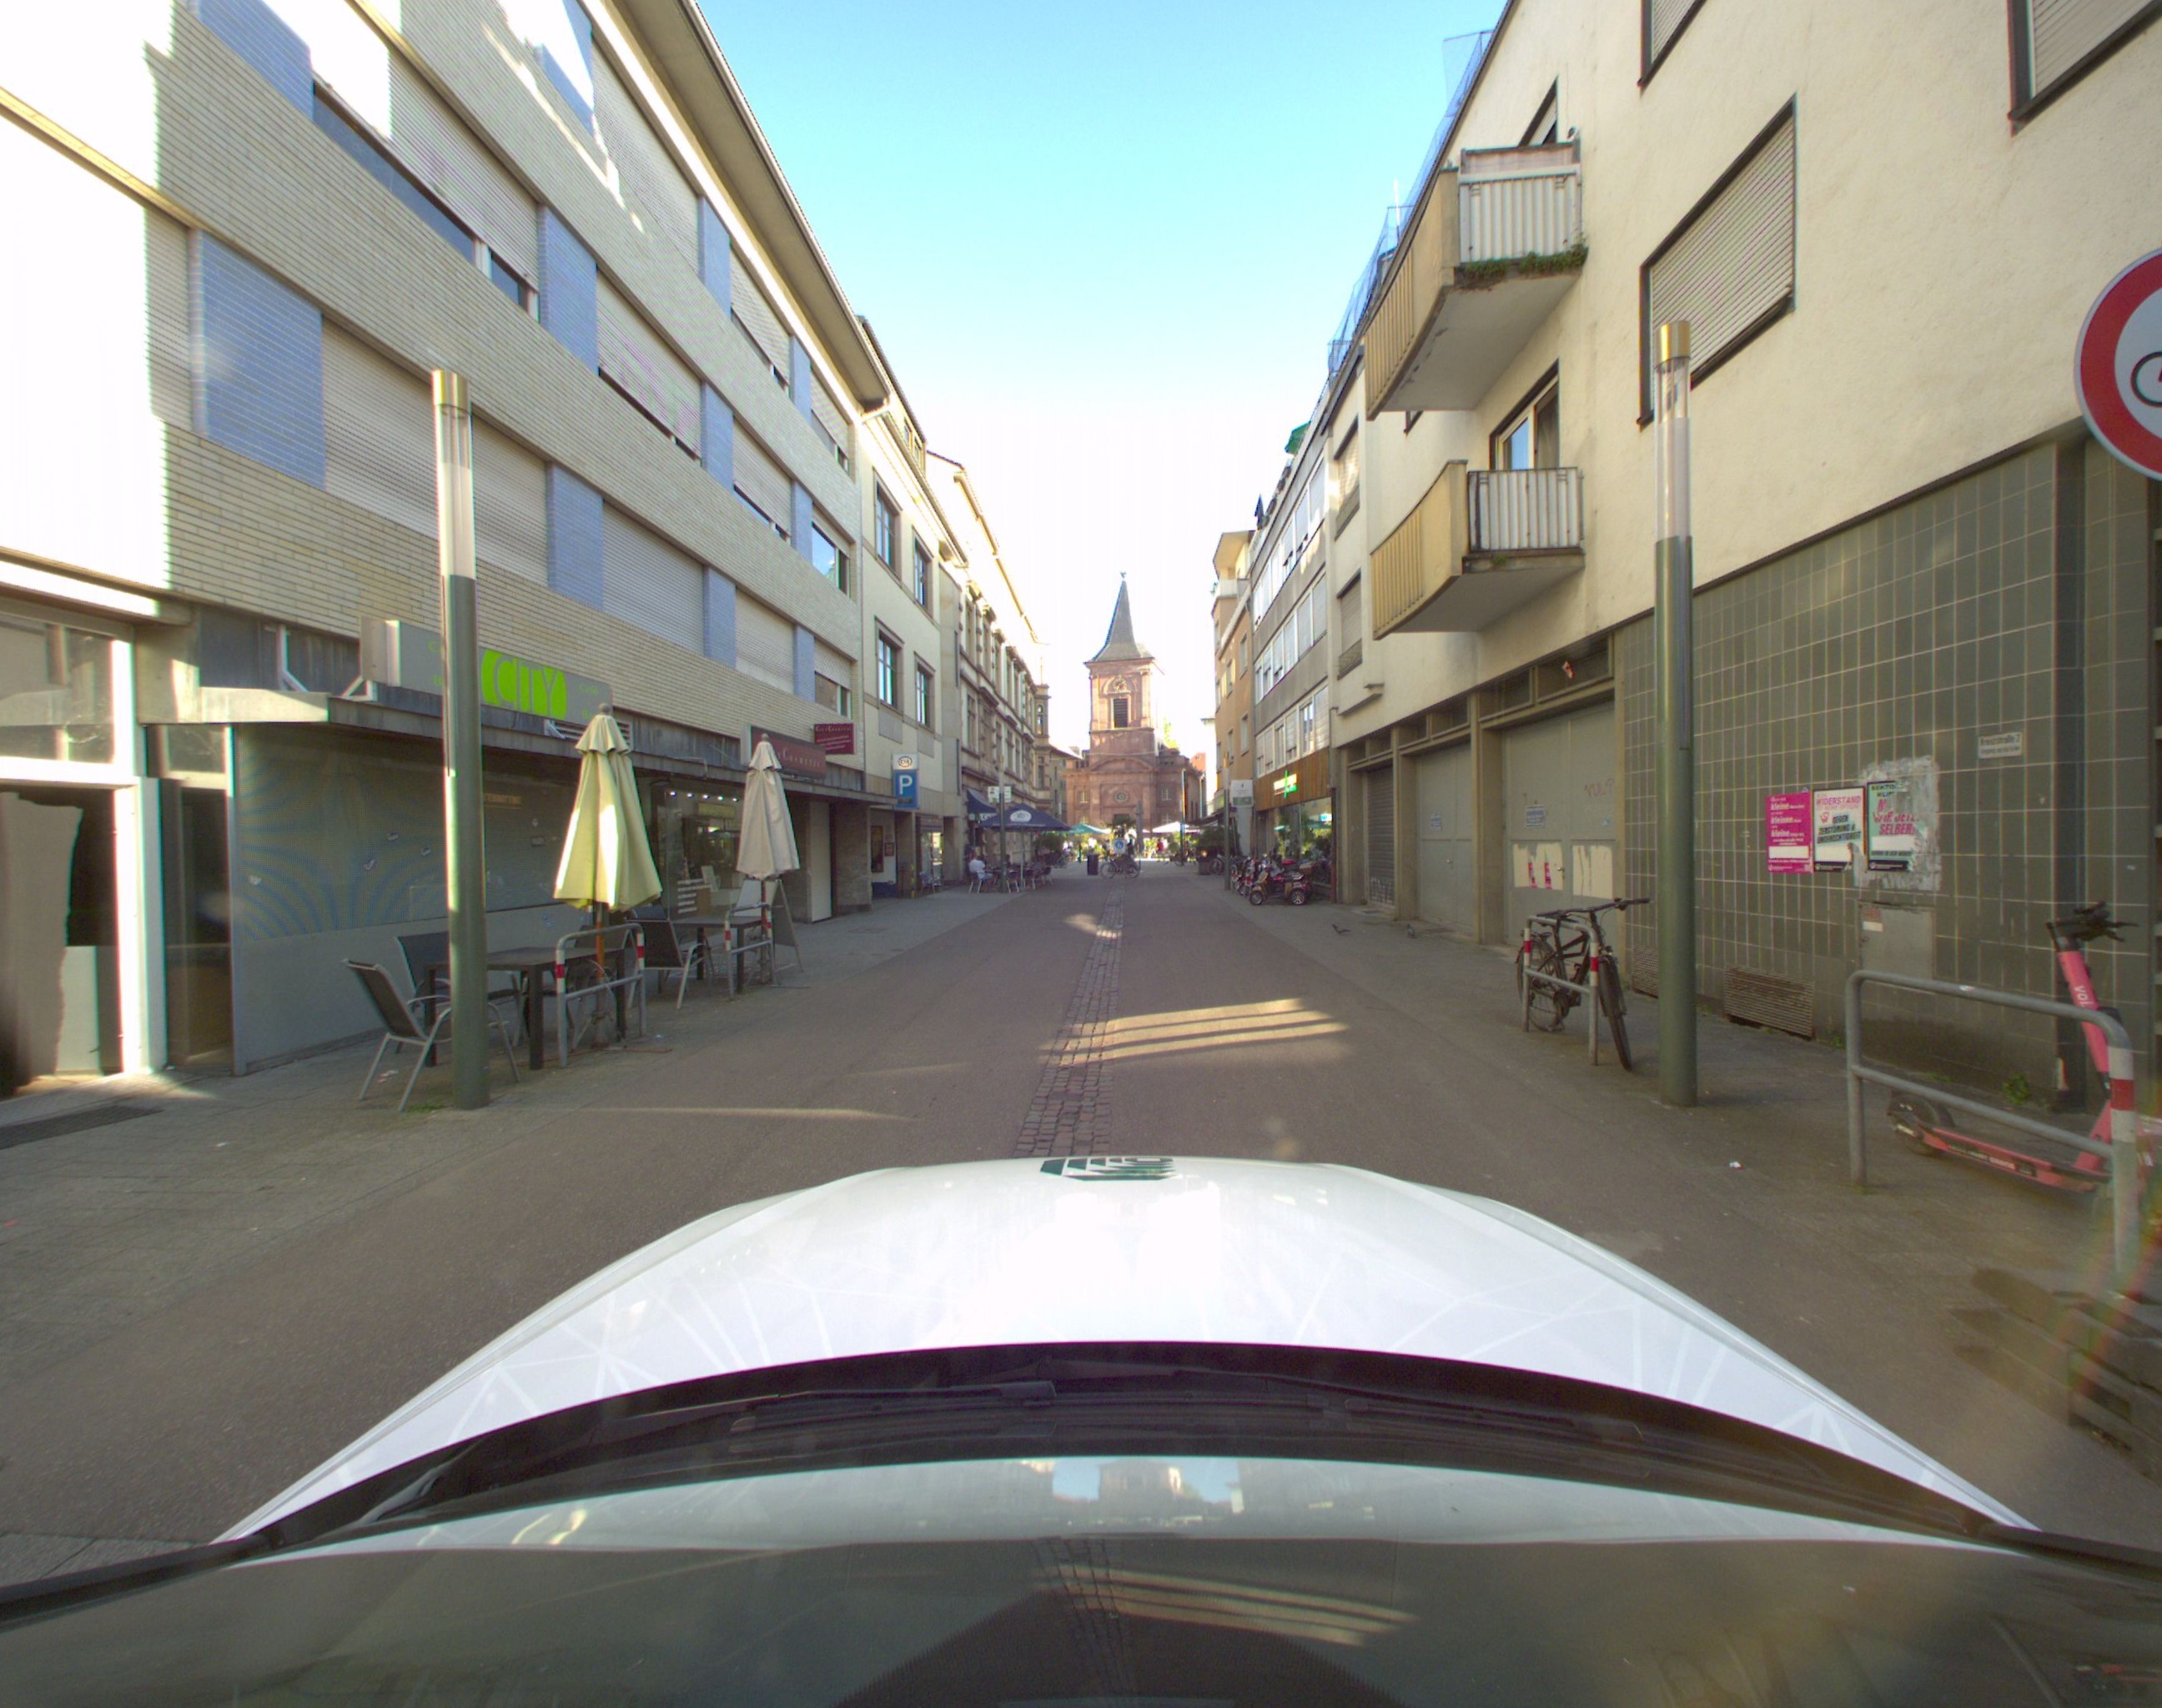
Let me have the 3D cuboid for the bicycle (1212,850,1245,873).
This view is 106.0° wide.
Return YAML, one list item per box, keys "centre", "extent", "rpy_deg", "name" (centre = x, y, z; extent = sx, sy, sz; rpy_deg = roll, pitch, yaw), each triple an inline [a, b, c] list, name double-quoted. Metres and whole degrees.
- centre: [6.599, 0.345, 36.478]
  extent: [1.454, 1.005, 0.574]
  rpy_deg: [-1, 1, 10]
  name: "bicycle"

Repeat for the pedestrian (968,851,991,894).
- centre: [-3.352, 0.603, 26.931]
  extent: [0.708, 1.368, 0.718]
  rpy_deg: [-1, 1, -9]
  name: "pedestrian"

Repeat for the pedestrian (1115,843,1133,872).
- centre: [2.177, 0.184, 41.564]
  extent: [0.880, 1.464, 0.731]
  rpy_deg: [-1, 0, 3]
  name: "pedestrian"

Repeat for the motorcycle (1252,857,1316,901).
- centre: [5.156, 0.647, 20.651]
  extent: [1.503, 1.075, 0.414]
  rpy_deg: [-1, 0, 21]
  name: "motorcycle"

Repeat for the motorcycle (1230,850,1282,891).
- centre: [5.283, 0.505, 24.550]
  extent: [1.472, 1.181, 0.414]
  rpy_deg: [-1, 0, 18]
  name: "motorcycle"

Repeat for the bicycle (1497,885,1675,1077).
- centre: [3.591, 0.824, 5.945]
  extent: [0.444, 1.140, 1.714]
  rpy_deg: [-1, -1, 8]
  name: "bicycle"

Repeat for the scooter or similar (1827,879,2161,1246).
- centre: [3.946, 0.758, 3.512]
  extent: [0.306, 1.252, 1.239]
  rpy_deg: [-1, 0, 0]
  name: "scooter or similar"

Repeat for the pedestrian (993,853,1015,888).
- centre: [-2.798, 0.592, 29.797]
  extent: [0.763, 1.233, 0.830]
  rpy_deg: [-1, 1, -5]
  name: "pedestrian"

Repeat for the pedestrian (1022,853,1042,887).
- centre: [-1.833, 0.592, 30.411]
  extent: [0.691, 1.215, 0.582]
  rpy_deg: [-1, 1, -5]
  name: "pedestrian"

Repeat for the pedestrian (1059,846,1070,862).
- centre: [-1.268, -0.034, 63.749]
  extent: [0.696, 1.218, 0.721]
  rpy_deg: [-1, 1, 9]
  name: "pedestrian"

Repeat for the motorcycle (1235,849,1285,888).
- centre: [5.606, 0.460, 25.554]
  extent: [1.472, 1.181, 0.414]
  rpy_deg: [-1, 0, 18]
  name: "motorcycle"

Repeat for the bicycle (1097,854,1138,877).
- centre: [1.647, 0.517, 37.086]
  extent: [1.818, 1.005, 0.381]
  rpy_deg: [-1, 0, -1]
  name: "bicycle"

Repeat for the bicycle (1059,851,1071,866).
- centre: [-0.963, 0.242, 49.507]
  extent: [0.454, 0.850, 2.150]
  rpy_deg: [-1, 1, 7]
  name: "bicycle"

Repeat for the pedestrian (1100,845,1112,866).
- centre: [1.821, 0.106, 58.722]
  extent: [0.778, 1.555, 0.537]
  rpy_deg: [-1, 0, 13]
  name: "pedestrian"

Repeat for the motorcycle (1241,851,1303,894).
- centre: [5.364, 0.526, 22.853]
  extent: [1.611, 1.175, 0.483]
  rpy_deg: [-1, 0, 21]
  name: "motorcycle"

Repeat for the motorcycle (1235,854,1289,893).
- centre: [5.249, 0.571, 23.630]
  extent: [1.471, 1.075, 0.414]
  rpy_deg: [-1, 0, 21]
  name: "motorcycle"

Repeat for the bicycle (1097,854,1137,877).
- centre: [1.647, 0.510, 37.479]
  extent: [1.818, 1.005, 0.381]
  rpy_deg: [-1, 0, -1]
  name: "bicycle"

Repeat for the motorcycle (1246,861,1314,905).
- centre: [4.863, 0.707, 19.923]
  extent: [1.550, 1.041, 0.374]
  rpy_deg: [-1, 0, 21]
  name: "motorcycle"

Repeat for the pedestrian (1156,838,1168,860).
- centre: [6.135, -0.355, 61.777]
  extent: [0.614, 1.641, 0.651]
  rpy_deg: [-1, 1, -30]
  name: "pedestrian"

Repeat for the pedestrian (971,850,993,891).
- centre: [-3.408, 0.558, 28.017]
  extent: [0.717, 1.368, 0.708]
  rpy_deg: [-1, 1, -9]
  name: "pedestrian"

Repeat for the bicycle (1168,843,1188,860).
- centre: [7.487, -0.215, 62.698]
  extent: [1.594, 1.308, 0.362]
  rpy_deg: [-1, 1, -26]
  name: "bicycle"

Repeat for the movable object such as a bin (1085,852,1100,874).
- centre: [0.584, 0.462, 40.411]
  extent: [0.719, 1.074, 0.374]
  rpy_deg: [-1, 1, 1]
  name: "movable object such as a bin"

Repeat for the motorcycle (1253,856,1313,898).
- centre: [5.359, 0.614, 21.643]
  extent: [1.471, 1.075, 0.414]
  rpy_deg: [-1, 0, 21]
  name: "motorcycle"
